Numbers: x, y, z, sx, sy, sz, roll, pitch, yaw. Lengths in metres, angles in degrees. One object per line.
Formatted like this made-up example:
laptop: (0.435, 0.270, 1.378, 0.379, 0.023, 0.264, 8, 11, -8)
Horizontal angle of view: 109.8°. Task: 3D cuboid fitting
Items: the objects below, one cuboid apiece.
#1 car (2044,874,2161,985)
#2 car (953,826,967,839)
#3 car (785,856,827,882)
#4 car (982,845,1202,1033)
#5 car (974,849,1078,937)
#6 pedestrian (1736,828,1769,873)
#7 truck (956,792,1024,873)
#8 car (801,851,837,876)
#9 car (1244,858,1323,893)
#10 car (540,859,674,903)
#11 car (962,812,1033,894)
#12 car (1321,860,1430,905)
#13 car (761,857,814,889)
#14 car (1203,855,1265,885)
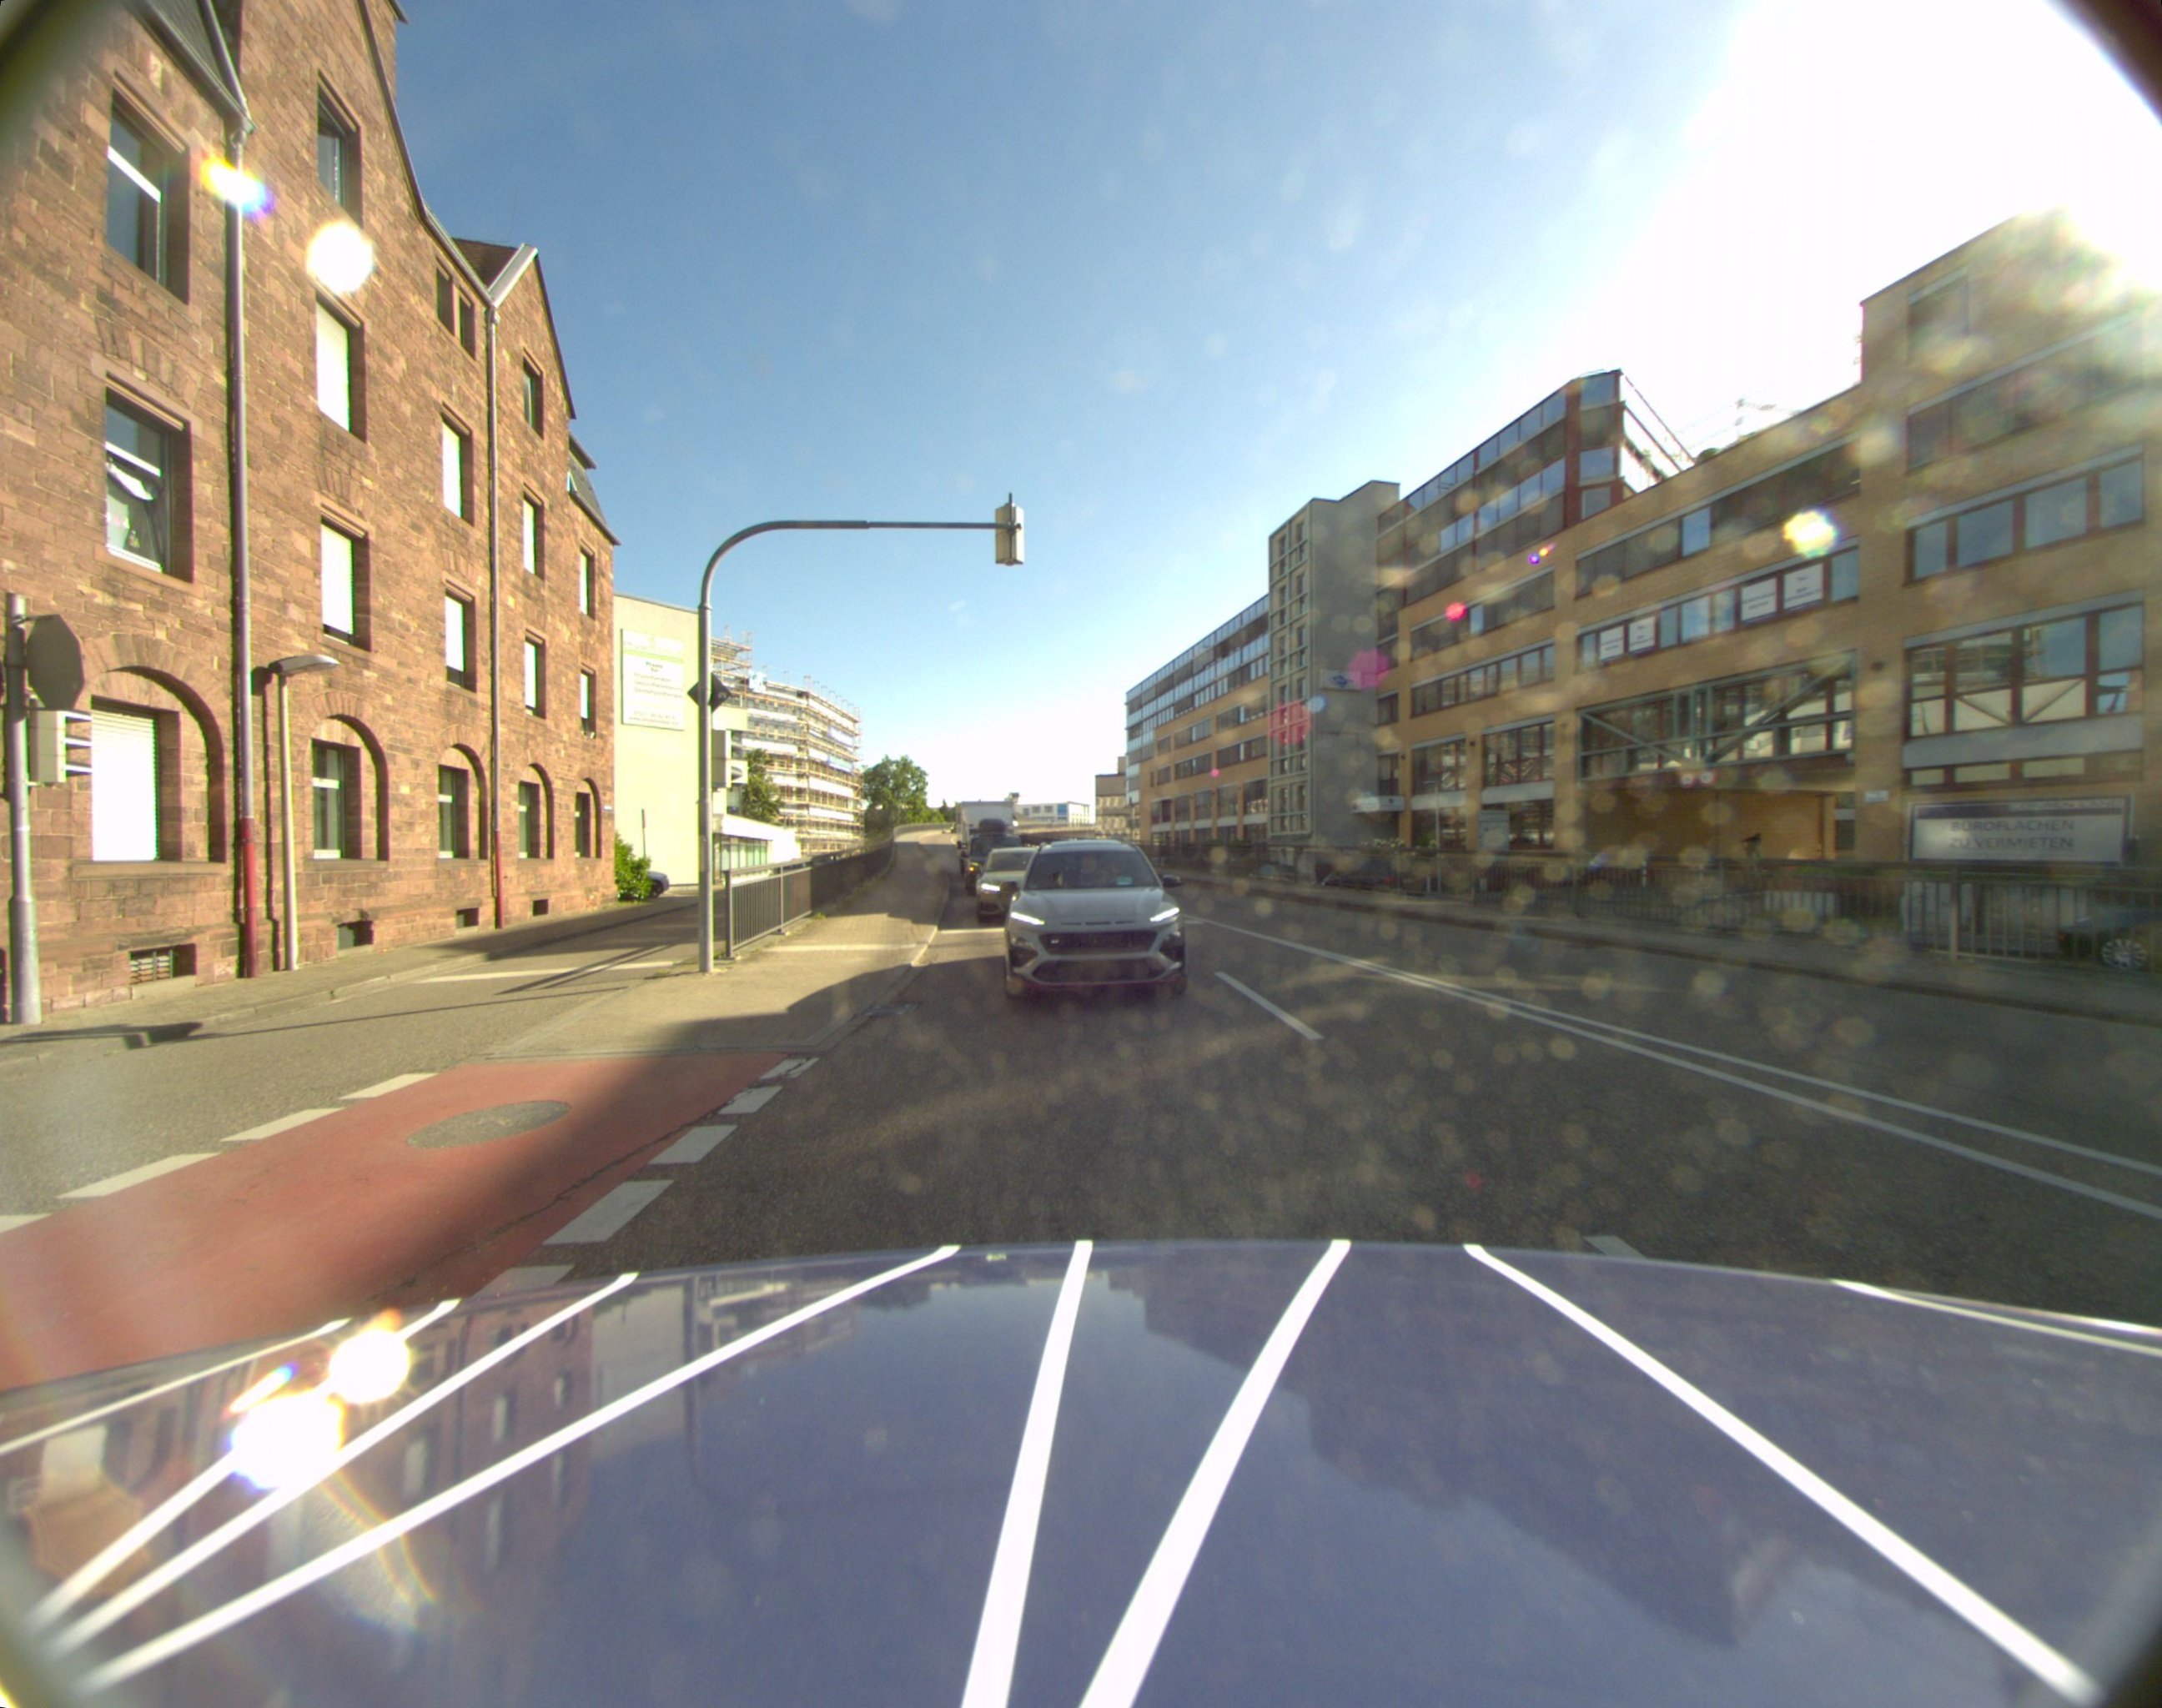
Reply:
car: (15.648, 1.035, 9.387, 1.660, 1.500, 4.375, 2, -1, -10)
car: (-18.568, -3.297, 116.641, 1.757, 1.749, 4.783, 0, 0, -3)
car: (-16.892, 0.894, 46.835, 2.055, 1.522, 4.087, -1, 0, -15)
car: (0.134, 0.714, 8.603, 1.879, 1.612, 4.196, 0, 1, 1)
car: (-1.292, 0.690, 16.179, 1.880, 1.462, 4.630, 0, 2, -7)
pedestrian: (28.253, -0.139, 31.965, 0.747, 1.840, 0.704, -2, 1, -8)
truck: (-4.076, -0.819, 32.783, 2.505, 3.110, 6.953, -1, 0, -10)
car: (-18.514, 0.669, 53.832, 2.055, 1.676, 4.087, -1, 0, -15)
car: (9.623, 0.987, 36.521, 1.881, 1.514, 4.155, 0, 0, -15)
car: (-18.518, 1.006, 29.802, 1.914, 1.522, 4.101, -1, 0, 43)
car: (-2.660, -0.026, 23.438, 1.952, 2.248, 4.781, 0, 0, -9)
car: (11.059, 1.018, 28.879, 1.640, 1.514, 4.154, 0, 0, -17)
car: (-15.196, 0.925, 39.538, 2.055, 1.522, 4.087, -1, 0, -14)
car: (8.355, 0.846, 41.857, 1.886, 1.555, 3.995, 0, 0, -12)
